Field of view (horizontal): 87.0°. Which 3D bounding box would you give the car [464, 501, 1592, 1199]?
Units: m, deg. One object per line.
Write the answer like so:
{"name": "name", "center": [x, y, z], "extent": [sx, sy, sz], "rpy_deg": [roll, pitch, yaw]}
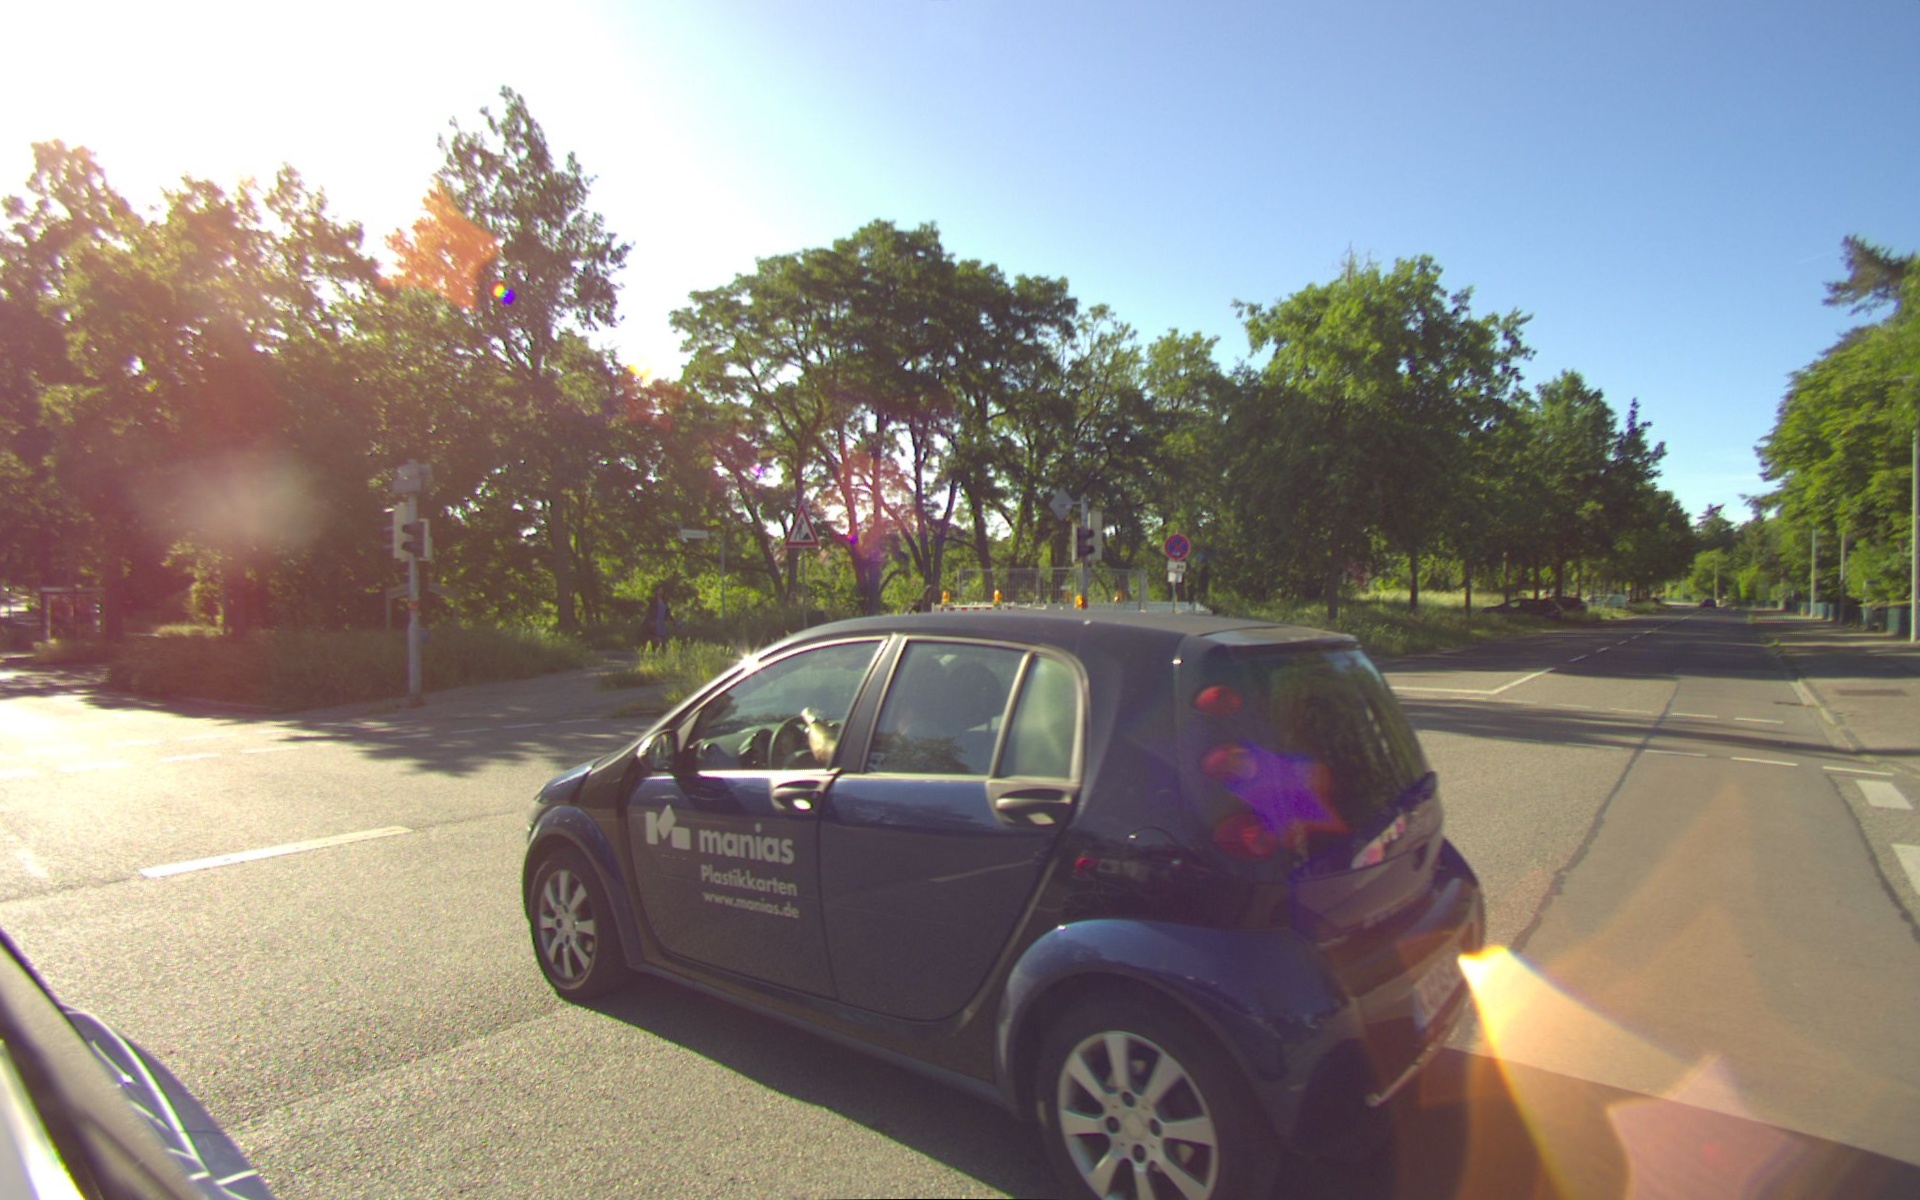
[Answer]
{"name": "car", "center": [-0.075, 0.594, 3.725], "extent": [3.848, 1.466, 1.787], "rpy_deg": [-1, -1, 41]}

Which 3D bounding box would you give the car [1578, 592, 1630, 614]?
{"name": "car", "center": [61.700, 0.297, 96.997], "extent": [3.994, 1.940, 1.975], "rpy_deg": [-1, 1, 38]}

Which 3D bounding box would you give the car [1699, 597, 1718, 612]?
{"name": "car", "center": [113.300, 0.630, 153.185], "extent": [1.994, 2.028, 3.956], "rpy_deg": [-1, 1, 32]}

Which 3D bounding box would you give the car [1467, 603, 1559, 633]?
{"name": "car", "center": [28.991, 0.931, 53.110], "extent": [3.996, 1.432, 1.620], "rpy_deg": [-1, 2, 40]}

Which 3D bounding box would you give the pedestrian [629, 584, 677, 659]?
{"name": "pedestrian", "center": [-6.998, 0.484, 23.078], "extent": [0.647, 1.645, 0.790], "rpy_deg": [-1, 1, 41]}
